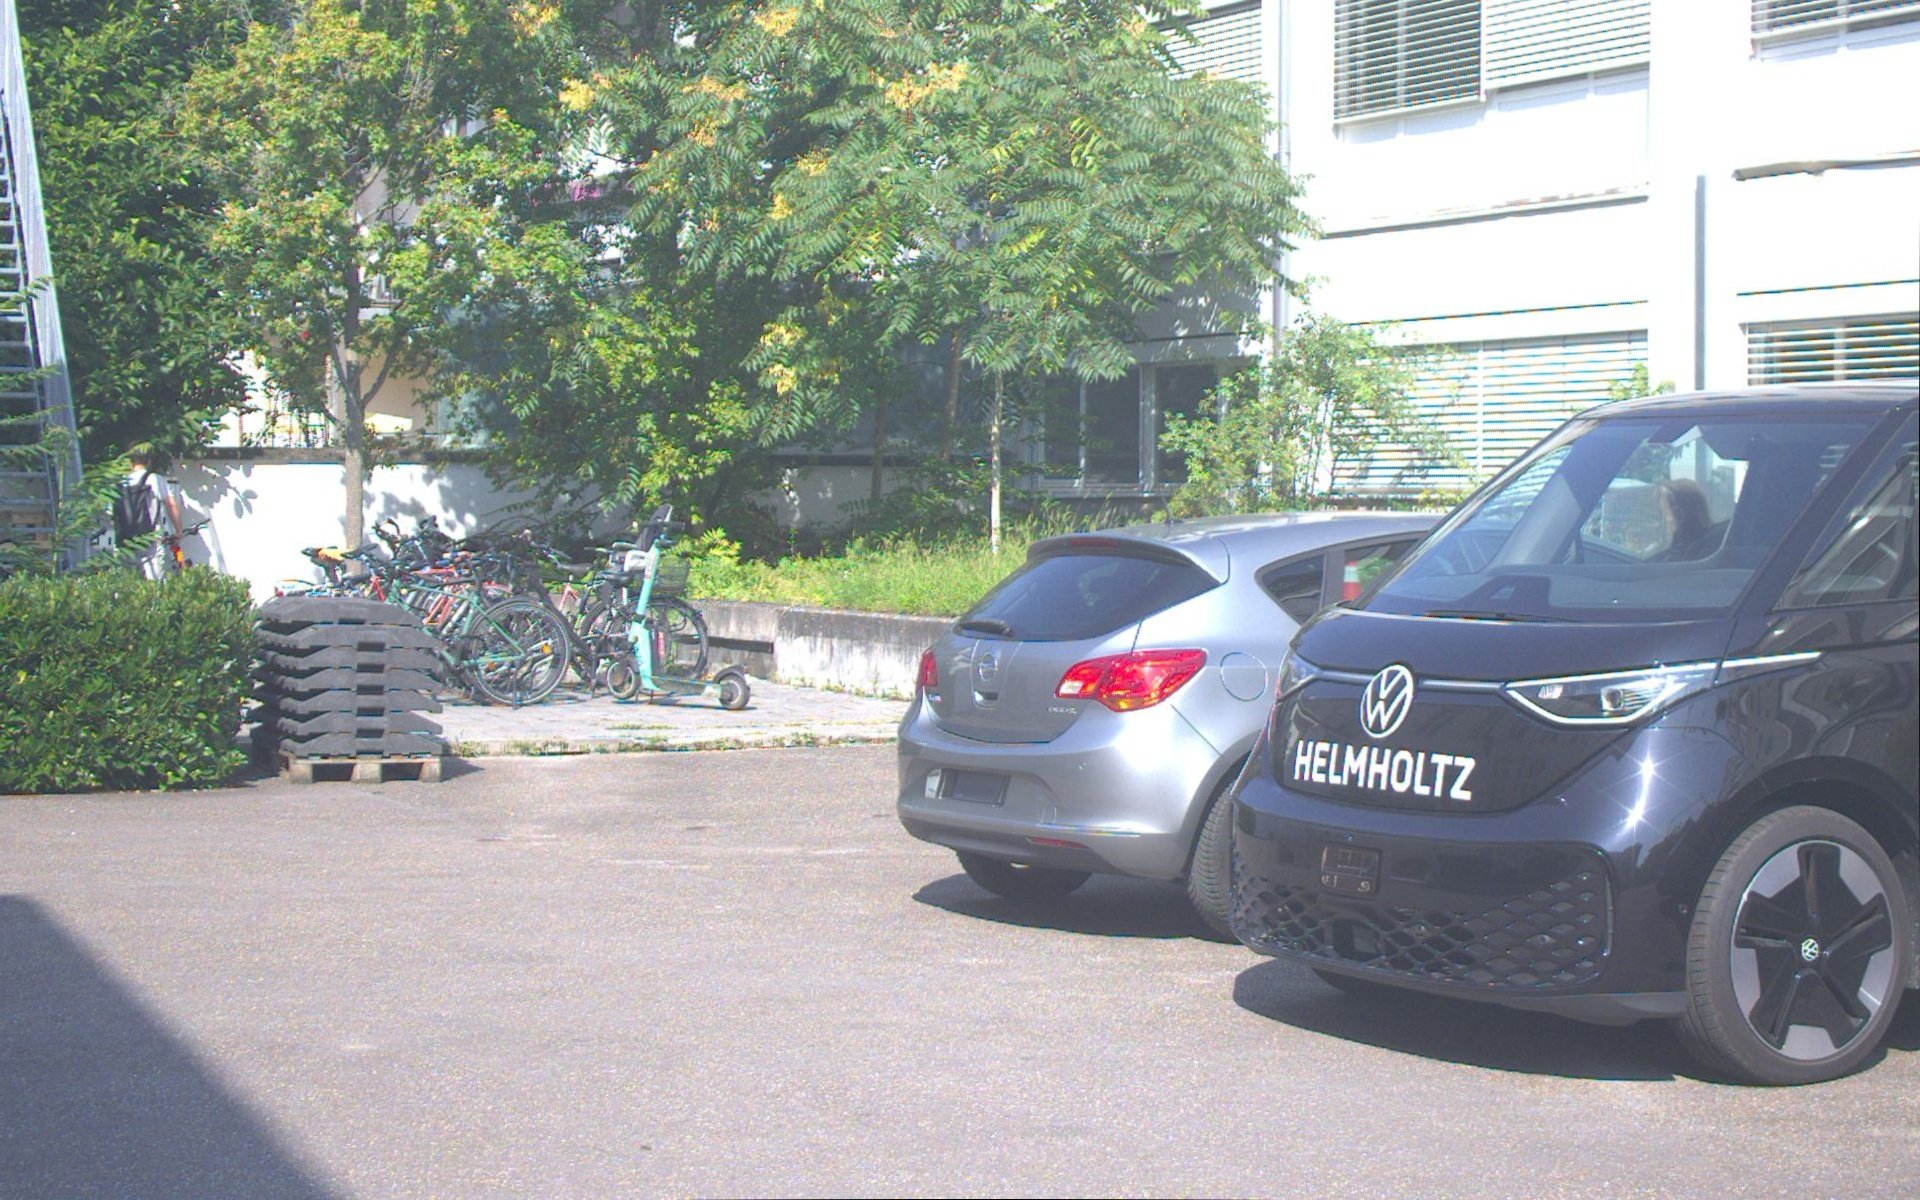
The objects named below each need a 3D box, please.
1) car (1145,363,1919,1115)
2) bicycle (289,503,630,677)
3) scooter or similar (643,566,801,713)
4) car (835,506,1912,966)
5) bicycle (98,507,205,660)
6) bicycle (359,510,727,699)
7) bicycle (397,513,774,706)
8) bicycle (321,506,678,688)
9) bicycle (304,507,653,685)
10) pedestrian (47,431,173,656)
[{"bbox_3d":[2.900,0.273,10.374,4.335,1.852,1.915,-1,3,-31],"label":"car"},{"bbox_3d":[-3.683,-0.068,25.367,2.410,1.242,0.526,1,2,-21],"label":"bicycle"},{"bbox_3d":[-1.573,0.250,22.672,0.998,0.921,0.360,2,2,31],"label":"scooter or similar"},{"bbox_3d":[1.623,0.395,12.974,3.897,1.461,1.663,-1,3,-34],"label":"car"},{"bbox_3d":[-6.476,-0.153,27.607,0.488,1.139,1.994,0,3,-4],"label":"bicycle"},{"bbox_3d":[-2.829,0.033,23.416,2.410,1.242,0.526,1,2,-21],"label":"bicycle"},{"bbox_3d":[-2.479,0.067,22.820,2.410,1.242,0.526,1,2,-21],"label":"bicycle"},{"bbox_3d":[-3.231,-0.016,24.165,2.410,1.242,0.526,1,2,-21],"label":"bicycle"},{"bbox_3d":[-3.458,-0.021,24.757,2.410,1.242,0.526,1,2,-21],"label":"bicycle"},{"bbox_3d":[-6.821,-0.456,27.607,0.858,1.765,0.611,1,1,-3],"label":"pedestrian"}]
